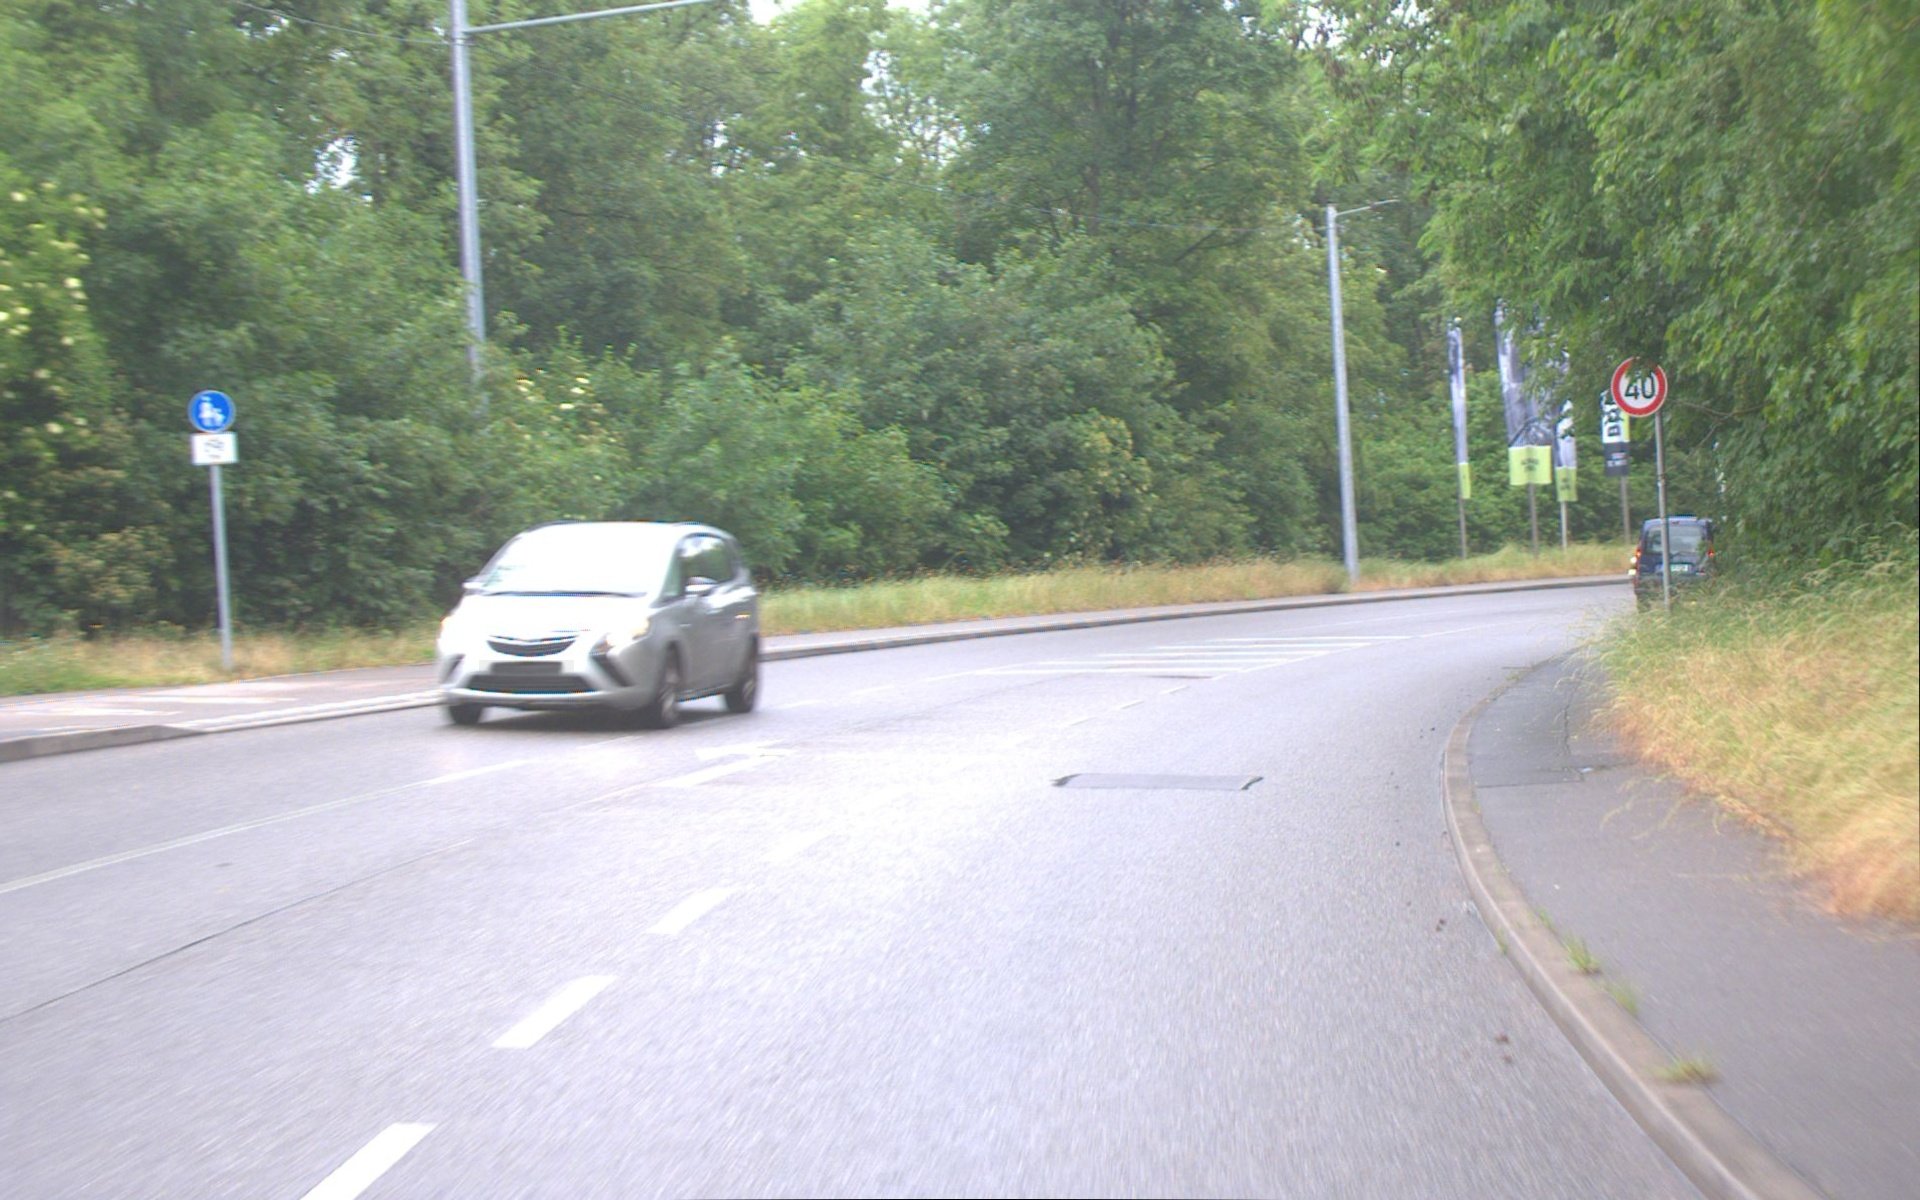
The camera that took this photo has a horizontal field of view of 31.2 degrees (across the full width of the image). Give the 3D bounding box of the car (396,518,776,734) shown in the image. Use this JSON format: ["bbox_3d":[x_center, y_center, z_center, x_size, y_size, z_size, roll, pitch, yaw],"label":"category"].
[{"bbox_3d":[-2.972,0.159,28.268,1.760,1.609,4.416,1,1,13],"label":"car"}]

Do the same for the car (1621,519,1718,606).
[{"bbox_3d":[13.562,-0.730,65.871,1.668,1.588,3.681,1,1,9],"label":"car"}]
